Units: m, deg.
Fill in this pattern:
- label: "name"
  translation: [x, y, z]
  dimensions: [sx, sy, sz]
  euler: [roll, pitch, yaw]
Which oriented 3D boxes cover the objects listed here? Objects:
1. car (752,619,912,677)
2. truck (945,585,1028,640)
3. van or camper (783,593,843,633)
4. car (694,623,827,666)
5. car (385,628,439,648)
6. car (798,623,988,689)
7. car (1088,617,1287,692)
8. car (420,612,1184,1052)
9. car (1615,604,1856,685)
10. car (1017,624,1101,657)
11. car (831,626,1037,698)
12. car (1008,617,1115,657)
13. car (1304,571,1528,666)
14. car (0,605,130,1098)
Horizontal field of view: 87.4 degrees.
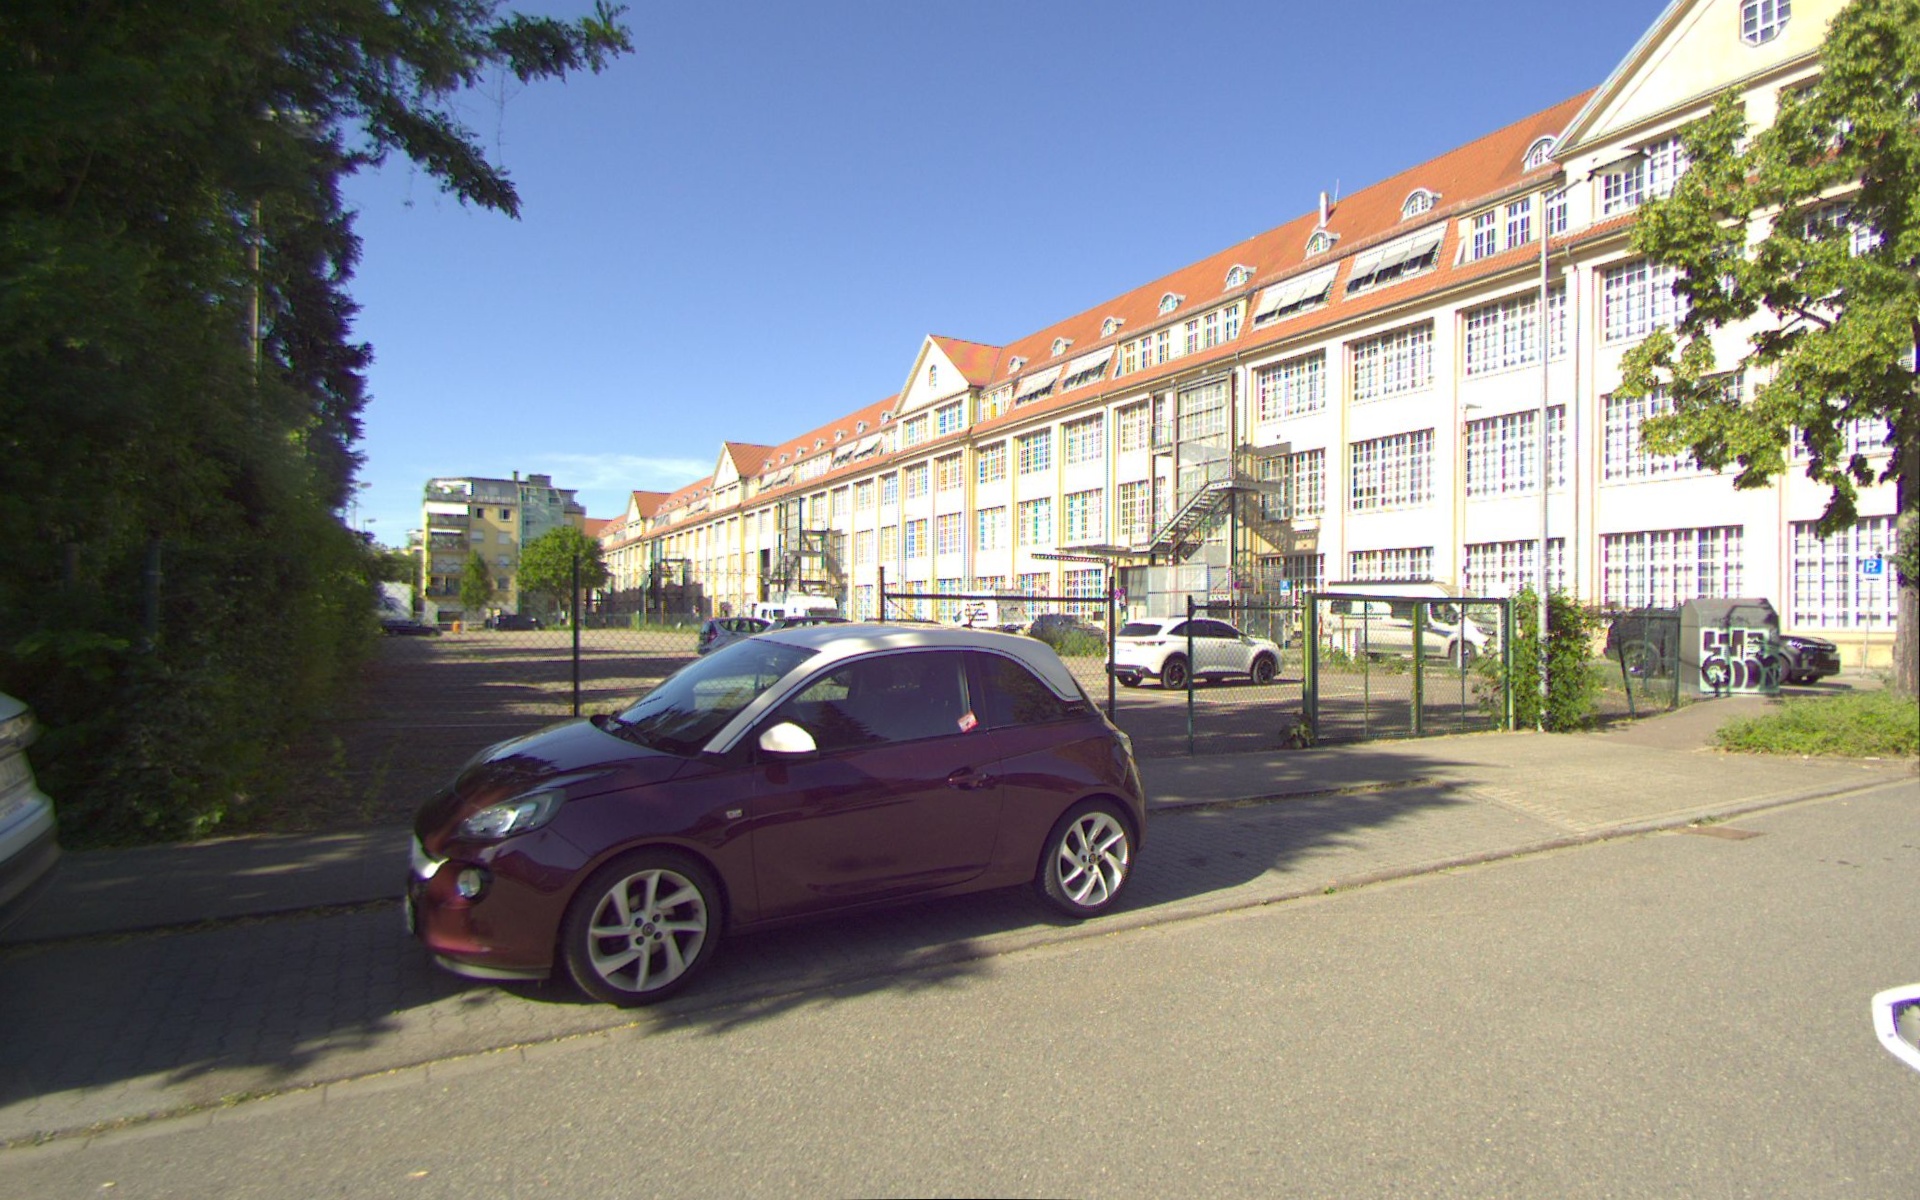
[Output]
- label: "car"
  translation: [-3.763, 1.368, 29.624]
  dimensions: [4.319, 1.580, 1.959]
  euler: [1, -1, -28]
- label: "truck"
  translation: [1.666, 0.819, 67.807]
  dimensions: [2.469, 3.476, 7.077]
  euler: [1, -1, -27]
- label: "van or camper"
  translation: [-11.075, 0.986, 75.304]
  dimensions: [2.693, 2.895, 5.092]
  euler: [2, -1, -31]
- label: "car"
  translation: [-7.177, 1.557, 36.183]
  dimensions: [4.319, 1.467, 1.959]
  euler: [1, -1, -28]
- label: "car"
  translation: [-46.375, 3.207, 85.088]
  dimensions: [3.953, 1.639, 1.984]
  euler: [2, -1, -30]
- label: "car"
  translation: [-1.647, 1.337, 24.970]
  dimensions: [4.319, 1.515, 1.959]
  euler: [1, -1, -28]
- label: "car"
  translation: [5.399, 1.219, 23.752]
  dimensions: [4.370, 1.631, 1.986]
  euler: [1, -1, -28]
- label: "car"
  translation: [-0.735, 0.856, 5.187]
  dimensions: [3.507, 1.493, 1.708]
  euler: [1, 1, -32]
- label: "car"
  translation: [18.169, 1.003, 23.735]
  dimensions: [1.975, 1.718, 4.073]
  euler: [1, -1, -28]
- label: "car"
  translation: [4.493, 1.830, 46.365]
  dimensions: [1.829, 1.444, 4.193]
  euler: [1, -2, -29]
- label: "car"
  translation: [-0.580, 1.343, 22.910]
  dimensions: [4.319, 1.475, 1.959]
  euler: [1, -1, -28]
- label: "car"
  translation: [4.296, 1.538, 42.379]
  dimensions: [4.193, 1.580, 1.882]
  euler: [1, -2, -31]
- label: "car"
  translation: [13.889, 0.588, 31.128]
  dimensions: [2.139, 2.631, 6.234]
  euler: [3, -2, -30]
- label: "car"
  translation: [-5.072, 0.754, 2.809]
  dimensions: [3.955, 1.493, 1.831]
  euler: [1, 1, -31]
